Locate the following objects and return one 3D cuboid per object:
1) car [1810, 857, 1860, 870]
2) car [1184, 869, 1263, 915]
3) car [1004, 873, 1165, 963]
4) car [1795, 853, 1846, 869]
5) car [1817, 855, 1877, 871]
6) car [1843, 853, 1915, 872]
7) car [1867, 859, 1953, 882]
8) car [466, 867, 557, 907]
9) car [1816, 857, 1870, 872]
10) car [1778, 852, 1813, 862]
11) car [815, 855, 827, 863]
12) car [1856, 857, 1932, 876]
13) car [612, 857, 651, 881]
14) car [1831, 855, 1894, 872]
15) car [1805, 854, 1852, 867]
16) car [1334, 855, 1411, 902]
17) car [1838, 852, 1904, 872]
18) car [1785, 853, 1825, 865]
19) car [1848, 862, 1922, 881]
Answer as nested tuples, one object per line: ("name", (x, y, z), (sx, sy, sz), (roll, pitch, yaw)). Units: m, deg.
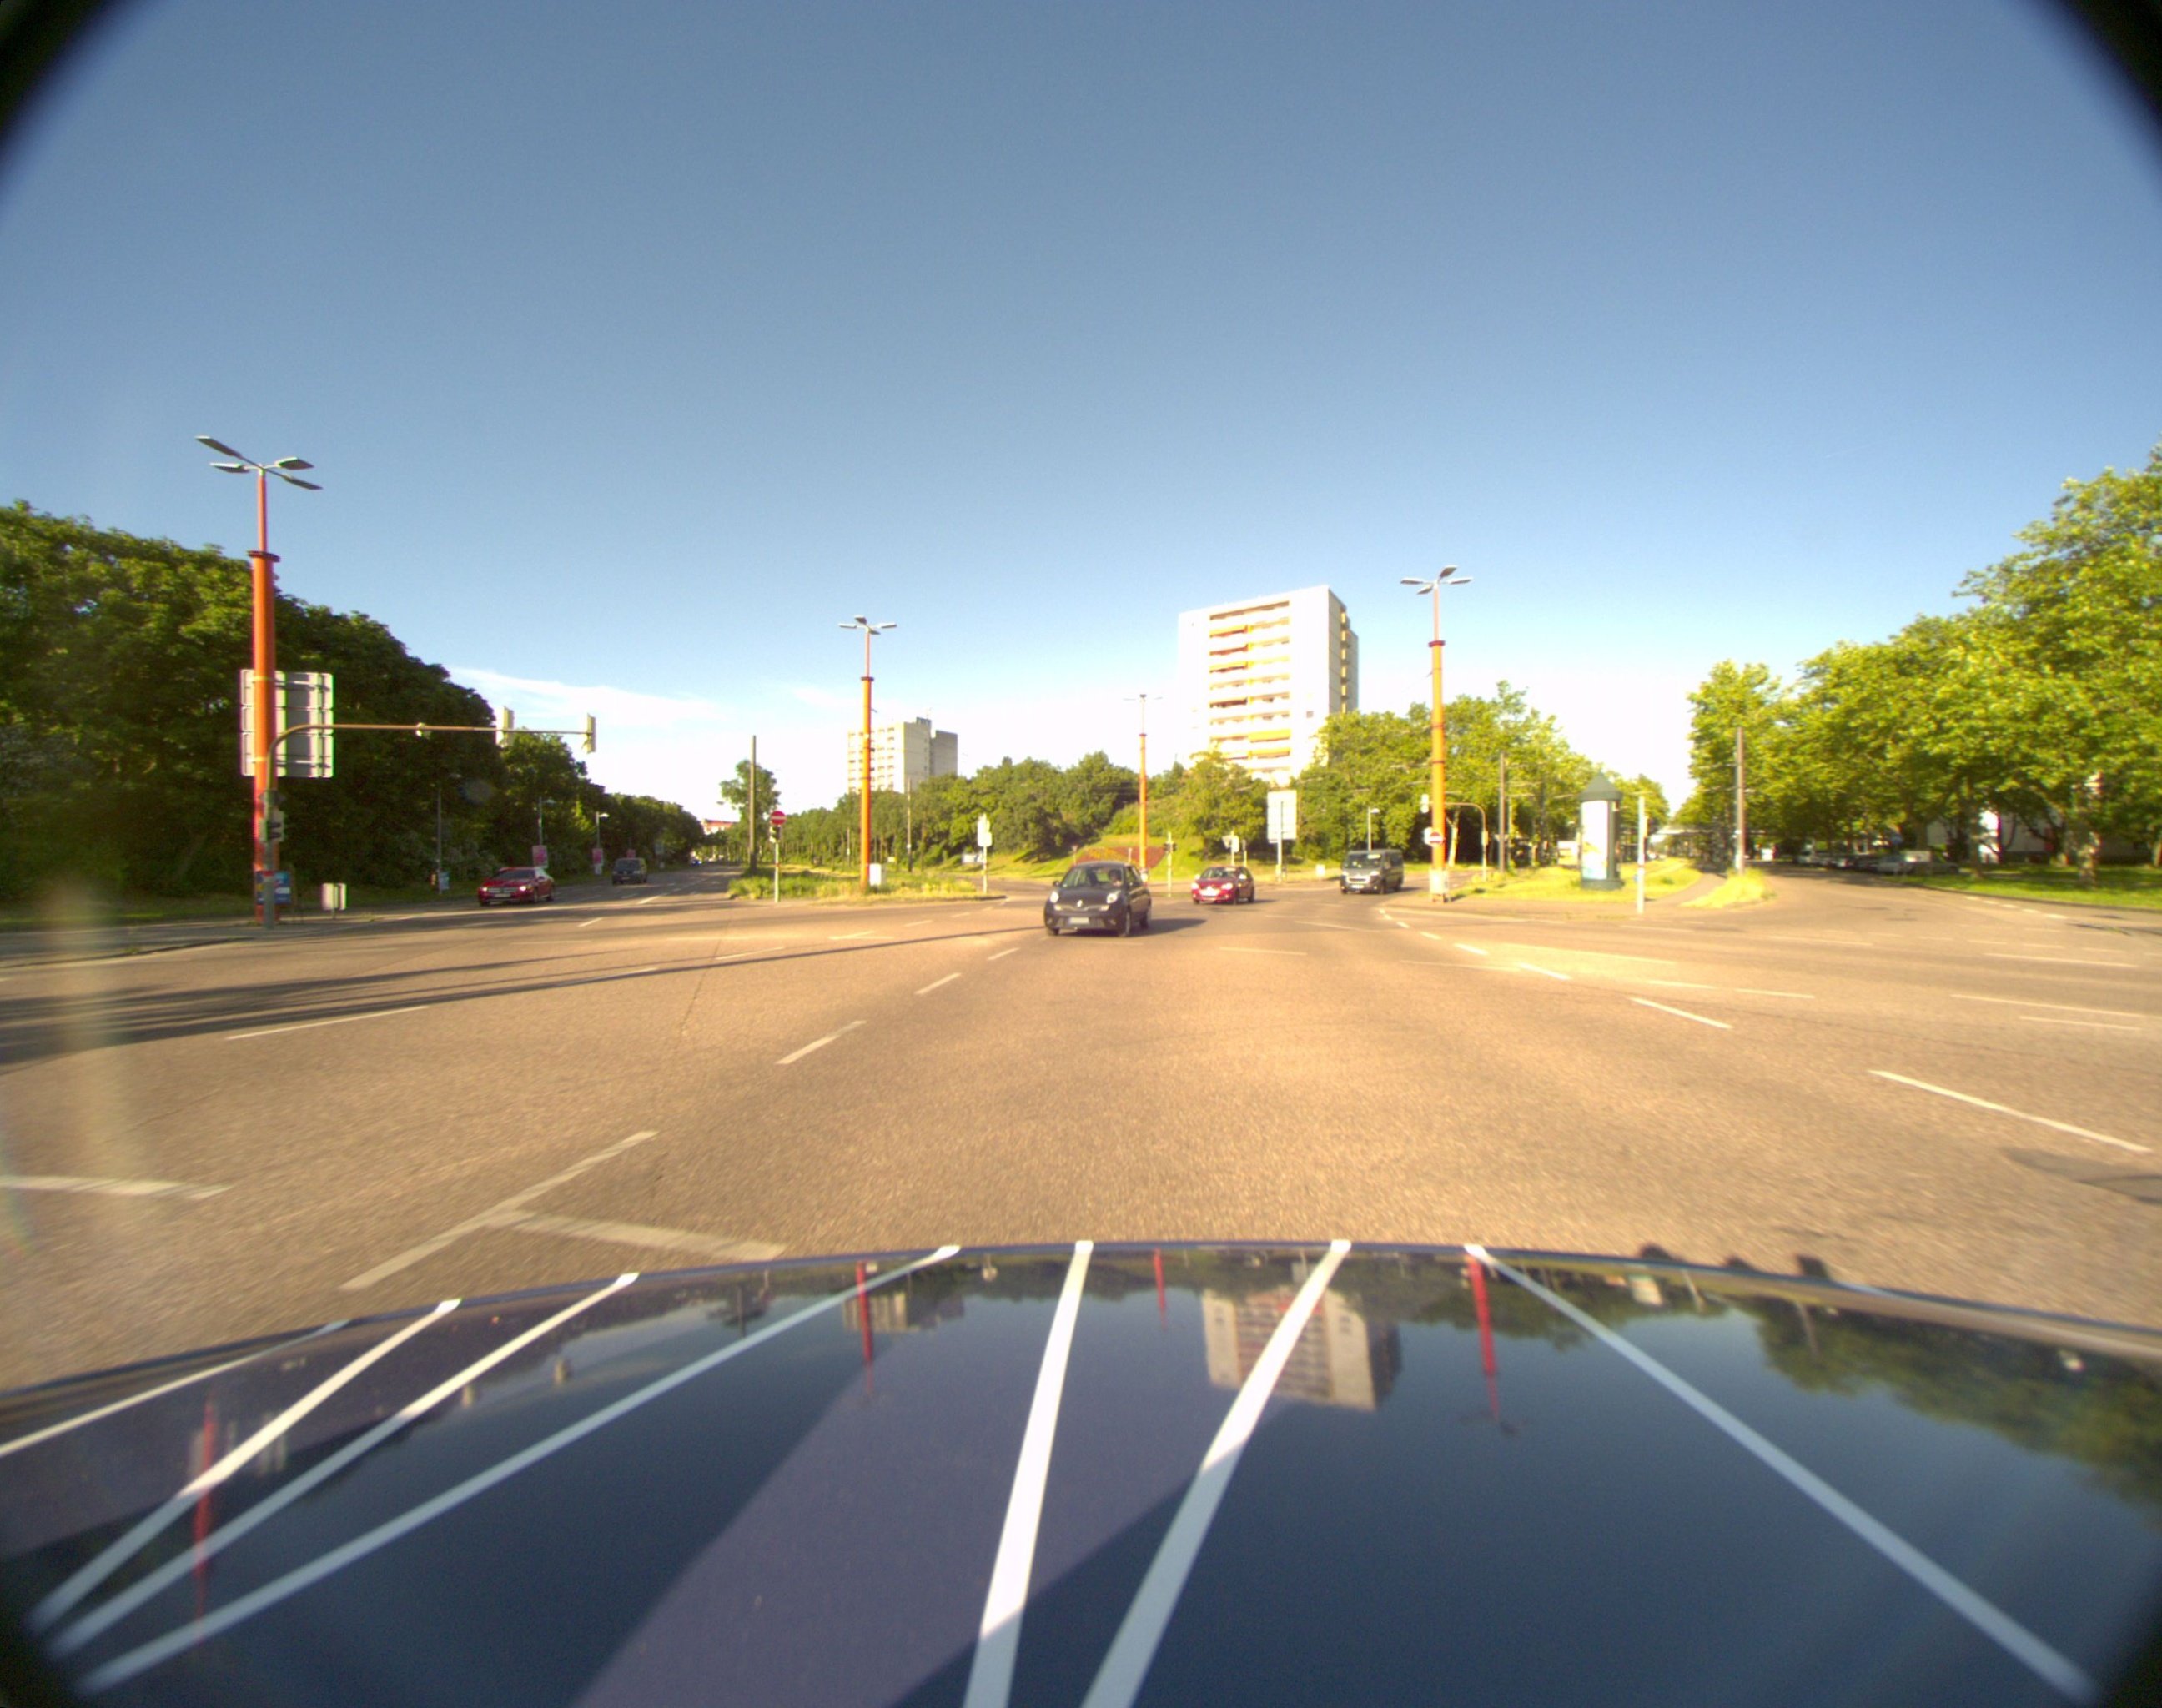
("car", (86.370, 1.109, 87.095), (4.047, 1.490, 1.795), (-1, -1, -4))
("car", (5.496, 1.370, 28.845), (1.769, 1.549, 4.735), (-1, -1, 26))
("car", (0.267, 1.163, 15.552), (1.736, 1.474, 4.630), (0, -1, 22))
("car", (92.009, 0.931, 94.591), (4.430, 1.907, 2.021), (-1, -1, -4))
("car", (74.874, 0.925, 74.303), (4.046, 1.490, 1.796), (-1, -1, -1))
("car", (65.974, 0.710, 62.831), (4.046, 1.490, 1.796), (-1, -1, -1))
("car", (57.450, 1.160, 52.671), (4.047, 1.478, 1.815), (-1, -1, -2))
("car", (-22.968, 1.272, 30.820), (2.002, 1.486, 4.281), (0, 0, -23))
("car", (79.914, 1.098, 79.723), (4.047, 1.490, 1.795), (-1, -1, -4))
("car", (113.191, 0.451, 120.412), (4.047, 1.490, 1.795), (-1, -1, -4))
("car", (-57.292, 1.115, 167.429), (2.002, 1.694, 4.684), (-1, 0, -24))
("car", (61.738, 0.948, 57.748), (4.047, 1.379, 1.677), (-1, -1, -2))
("car", (-34.347, 1.128, 58.193), (2.002, 1.722, 4.809), (0, 0, -23))
("car", (72.911, 0.877, 70.902), (4.046, 1.490, 1.796), (-1, -1, -1))
("car", (90.572, 0.849, 92.049), (4.047, 1.490, 1.795), (-1, -1, -4))
("car", (14.893, 1.162, 38.651), (2.035, 2.191, 5.673), (-1, 0, 38))
("car", (70.779, 0.735, 68.111), (4.046, 1.654, 1.796), (-1, -1, -1))
("car", (101.826, 0.711, 106.845), (4.047, 1.490, 1.795), (-1, -1, -4))
("car", (63.857, 1.403, 60.374), (4.047, 1.379, 1.795), (-1, -1, -2))
